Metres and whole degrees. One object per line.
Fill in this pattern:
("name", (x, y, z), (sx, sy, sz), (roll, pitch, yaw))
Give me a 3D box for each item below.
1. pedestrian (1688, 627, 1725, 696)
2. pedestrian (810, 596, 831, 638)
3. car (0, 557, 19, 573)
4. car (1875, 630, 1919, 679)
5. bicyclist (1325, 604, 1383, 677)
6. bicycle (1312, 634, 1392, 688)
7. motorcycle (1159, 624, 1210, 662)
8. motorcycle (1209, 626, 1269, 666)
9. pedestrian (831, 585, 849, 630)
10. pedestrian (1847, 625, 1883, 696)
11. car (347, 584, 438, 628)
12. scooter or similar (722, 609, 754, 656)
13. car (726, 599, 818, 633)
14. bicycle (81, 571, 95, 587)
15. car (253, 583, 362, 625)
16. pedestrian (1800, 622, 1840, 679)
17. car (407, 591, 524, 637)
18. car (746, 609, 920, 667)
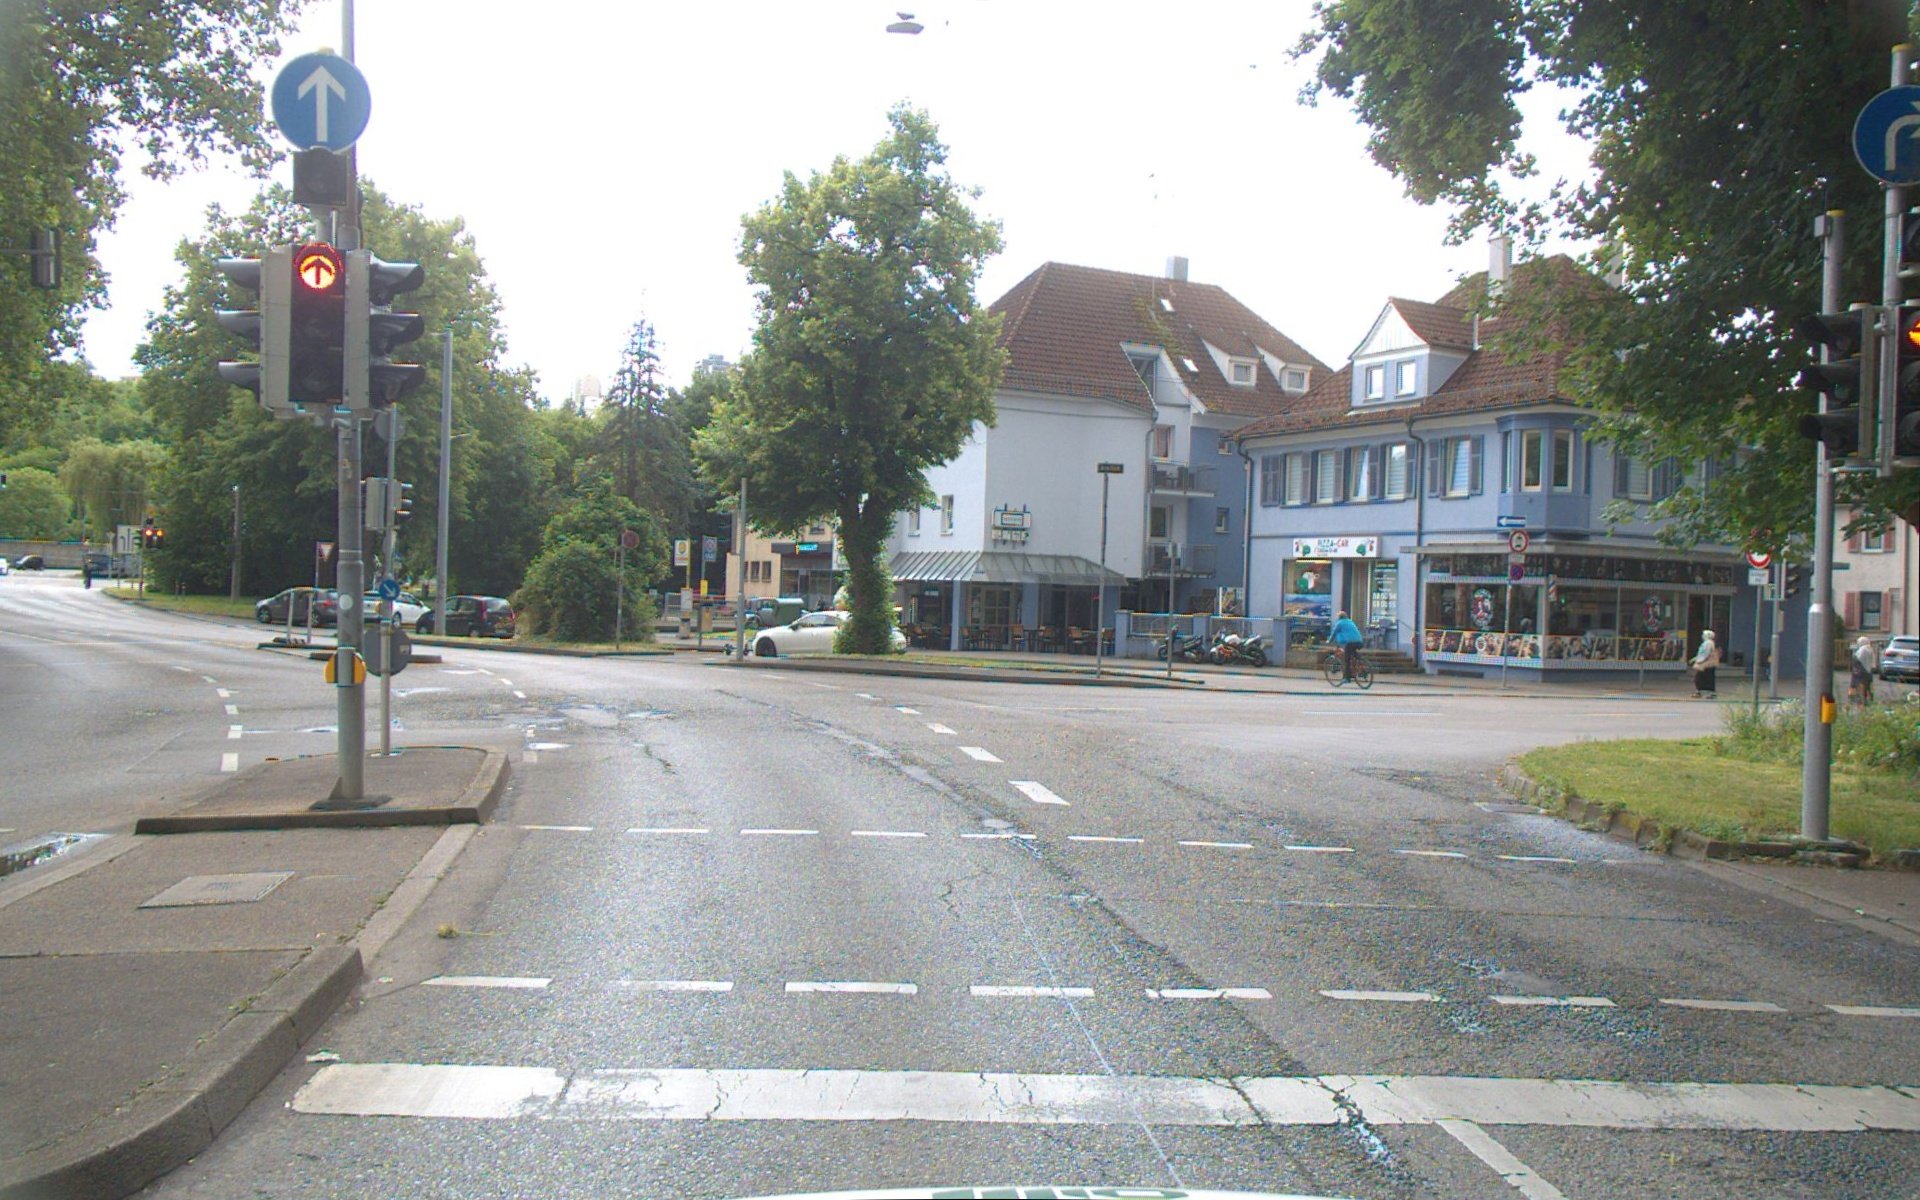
("pedestrian", (17.582, 1.436, 38.947), (0.717, 1.587, 0.767), (0, -1, 30))
("pedestrian", (-6.799, 0.818, 80.824), (0.823, 2.049, 1.052), (1, 0, -15))
("car", (-88.780, -3.262, 153.658), (2.971, 1.442, 1.491), (0, -2, 41))
("car", (29.696, 1.686, 51.699), (1.849, 1.415, 3.608), (1, 0, 28))
("bicyclist", (9.238, 0.949, 38.805), (0.903, 1.680, 0.981), (1, 0, -23))
("bicycle", (9.199, 1.423, 38.894), (0.862, 1.169, 1.939), (1, 0, -23))
("motorcycle", (6.813, 1.285, 50.216), (1.430, 1.107, 0.522), (1, 0, 35))
("motorcycle", (8.167, 1.337, 48.466), (1.595, 1.107, 0.625), (1, 0, 32))
("pedestrian", (-4.292, 0.273, 59.211), (0.531, 1.587, 0.468), (0, -1, 13))
("pedestrian", (20.453, 1.355, 37.382), (0.681, 1.587, 0.665), (0, -1, 30))
("car", (-22.736, 0.254, 66.405), (1.821, 1.668, 3.757), (1, 0, 10))
("scooter or similar", (-5.701, 0.827, 42.512), (0.433, 1.195, 1.439), (1, 0, 8))
("car", (-8.586, 0.728, 75.483), (3.880, 1.467, 1.742), (1, 0, -21))
("bicycle", (-53.459, -1.293, 101.408), (0.549, 0.975, 2.018), (1, 0, -23))
("car", (-25.010, 0.148, 63.422), (3.695, 1.491, 1.622), (1, 0, 18))
("pedestrian", (24.073, 1.407, 46.316), (0.659, 1.587, 0.743), (1, -1, -15))
("car", (-15.915, 0.444, 53.265), (3.252, 1.376, 1.778), (1, 0, 27))
("car", (-3.533, 1.019, 45.687), (4.618, 1.435, 1.896), (1, 0, 35))
